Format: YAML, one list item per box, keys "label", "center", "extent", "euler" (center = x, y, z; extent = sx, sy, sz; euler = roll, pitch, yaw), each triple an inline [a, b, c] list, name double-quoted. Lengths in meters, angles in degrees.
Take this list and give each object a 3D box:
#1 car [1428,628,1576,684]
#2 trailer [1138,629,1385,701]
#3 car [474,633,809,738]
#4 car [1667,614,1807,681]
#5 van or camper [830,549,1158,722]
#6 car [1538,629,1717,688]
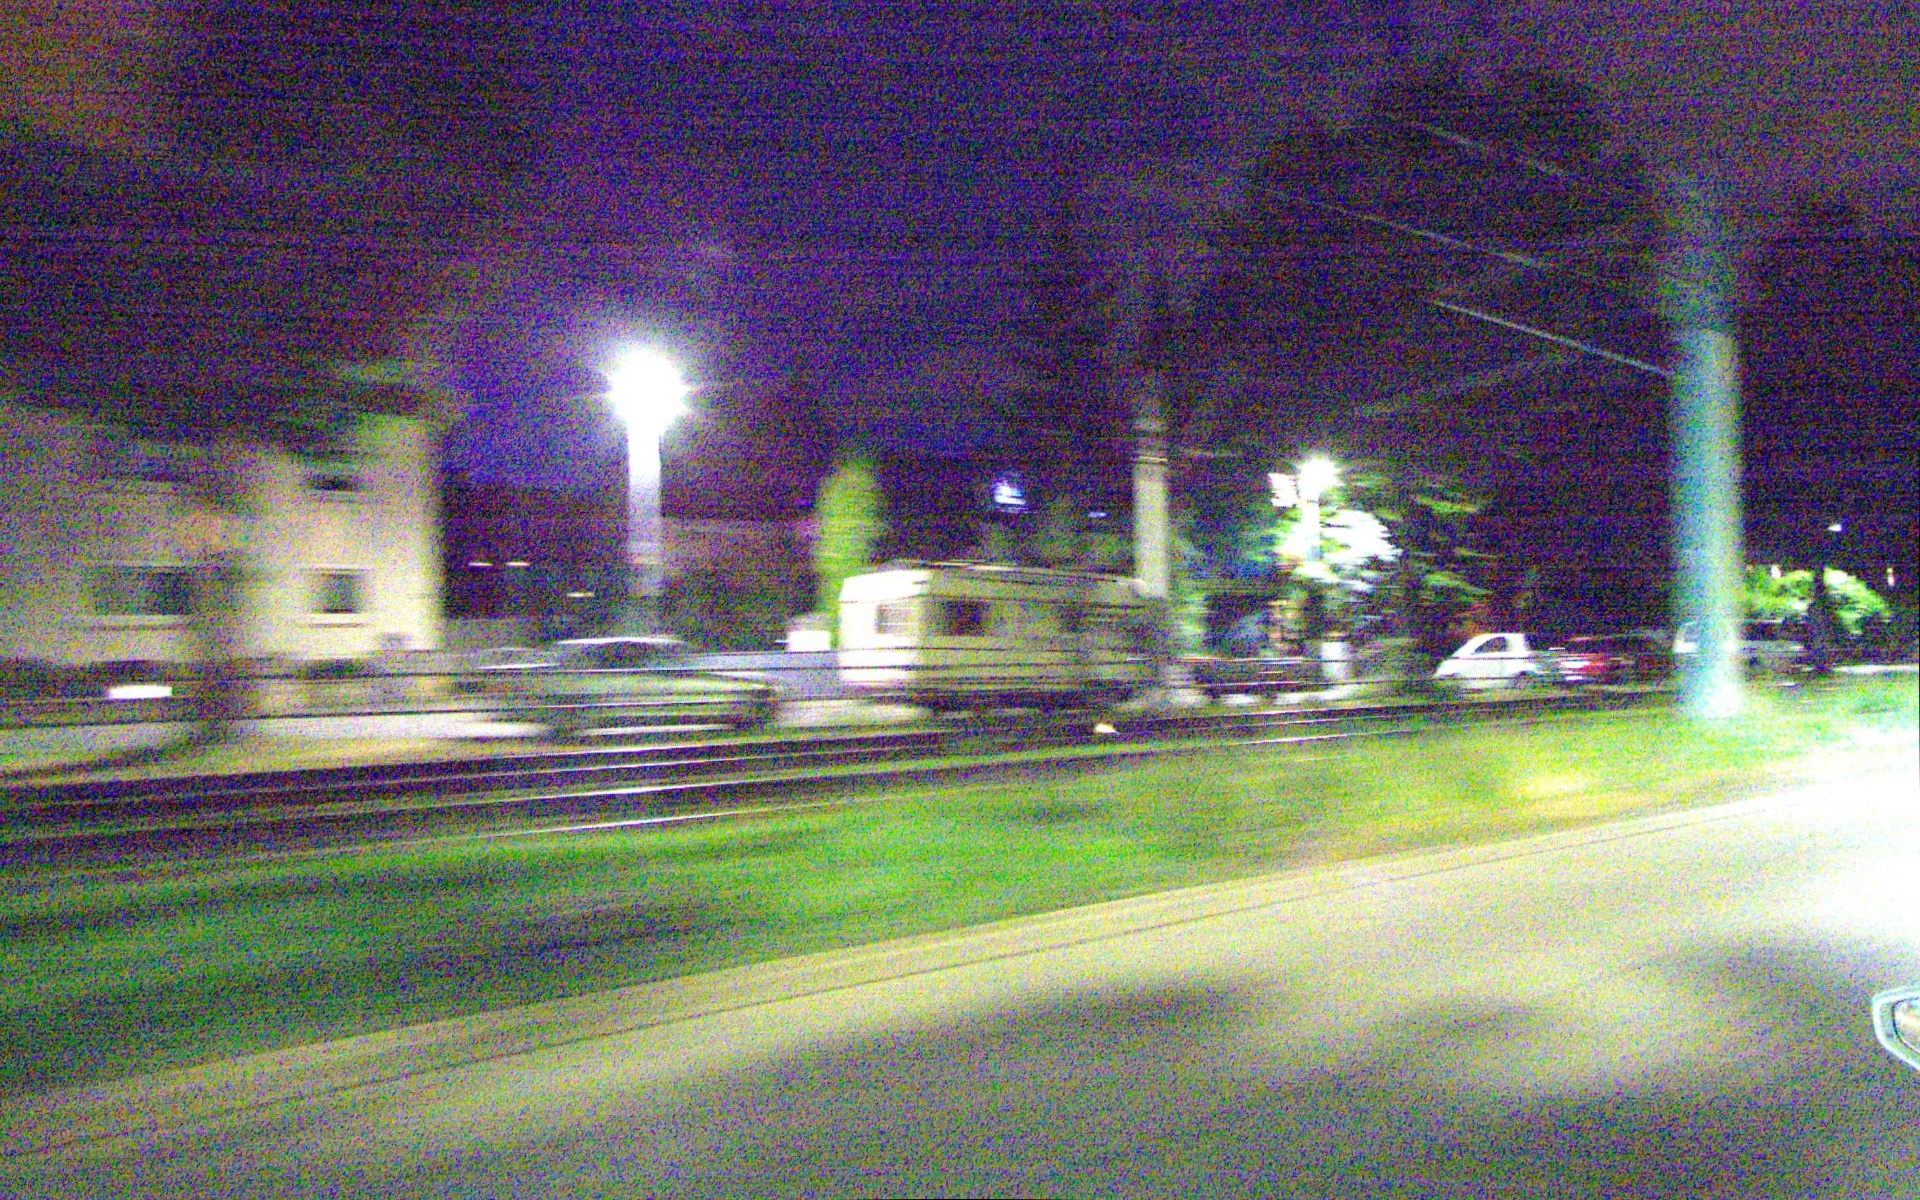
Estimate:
- label: "car"
  center: [13.837, 1.388, 25.771]
  extent: [1.517, 1.343, 3.011]
  euler: [1, -2, -33]
- label: "trailer"
  center: [6.444, 1.405, 21.541]
  extent: [4.590, 1.392, 2.415]
  euler: [1, -6, -24]
- label: "car"
  center: [-4.643, 1.223, 14.854]
  extent: [4.489, 1.356, 1.639]
  euler: [1, -6, -30]
- label: "car"
  center: [24.011, 1.427, 31.012]
  extent: [4.825, 1.929, 1.847]
  euler: [1, -2, -32]
- label: "van or camper"
  center: [0.699, 0.666, 18.082]
  extent: [5.603, 2.681, 2.260]
  euler: [1, -4, -33]
- label: "car"
  center: [18.728, 1.599, 28.150]
  extent: [5.103, 1.542, 1.896]
  euler: [1, -2, -26]
